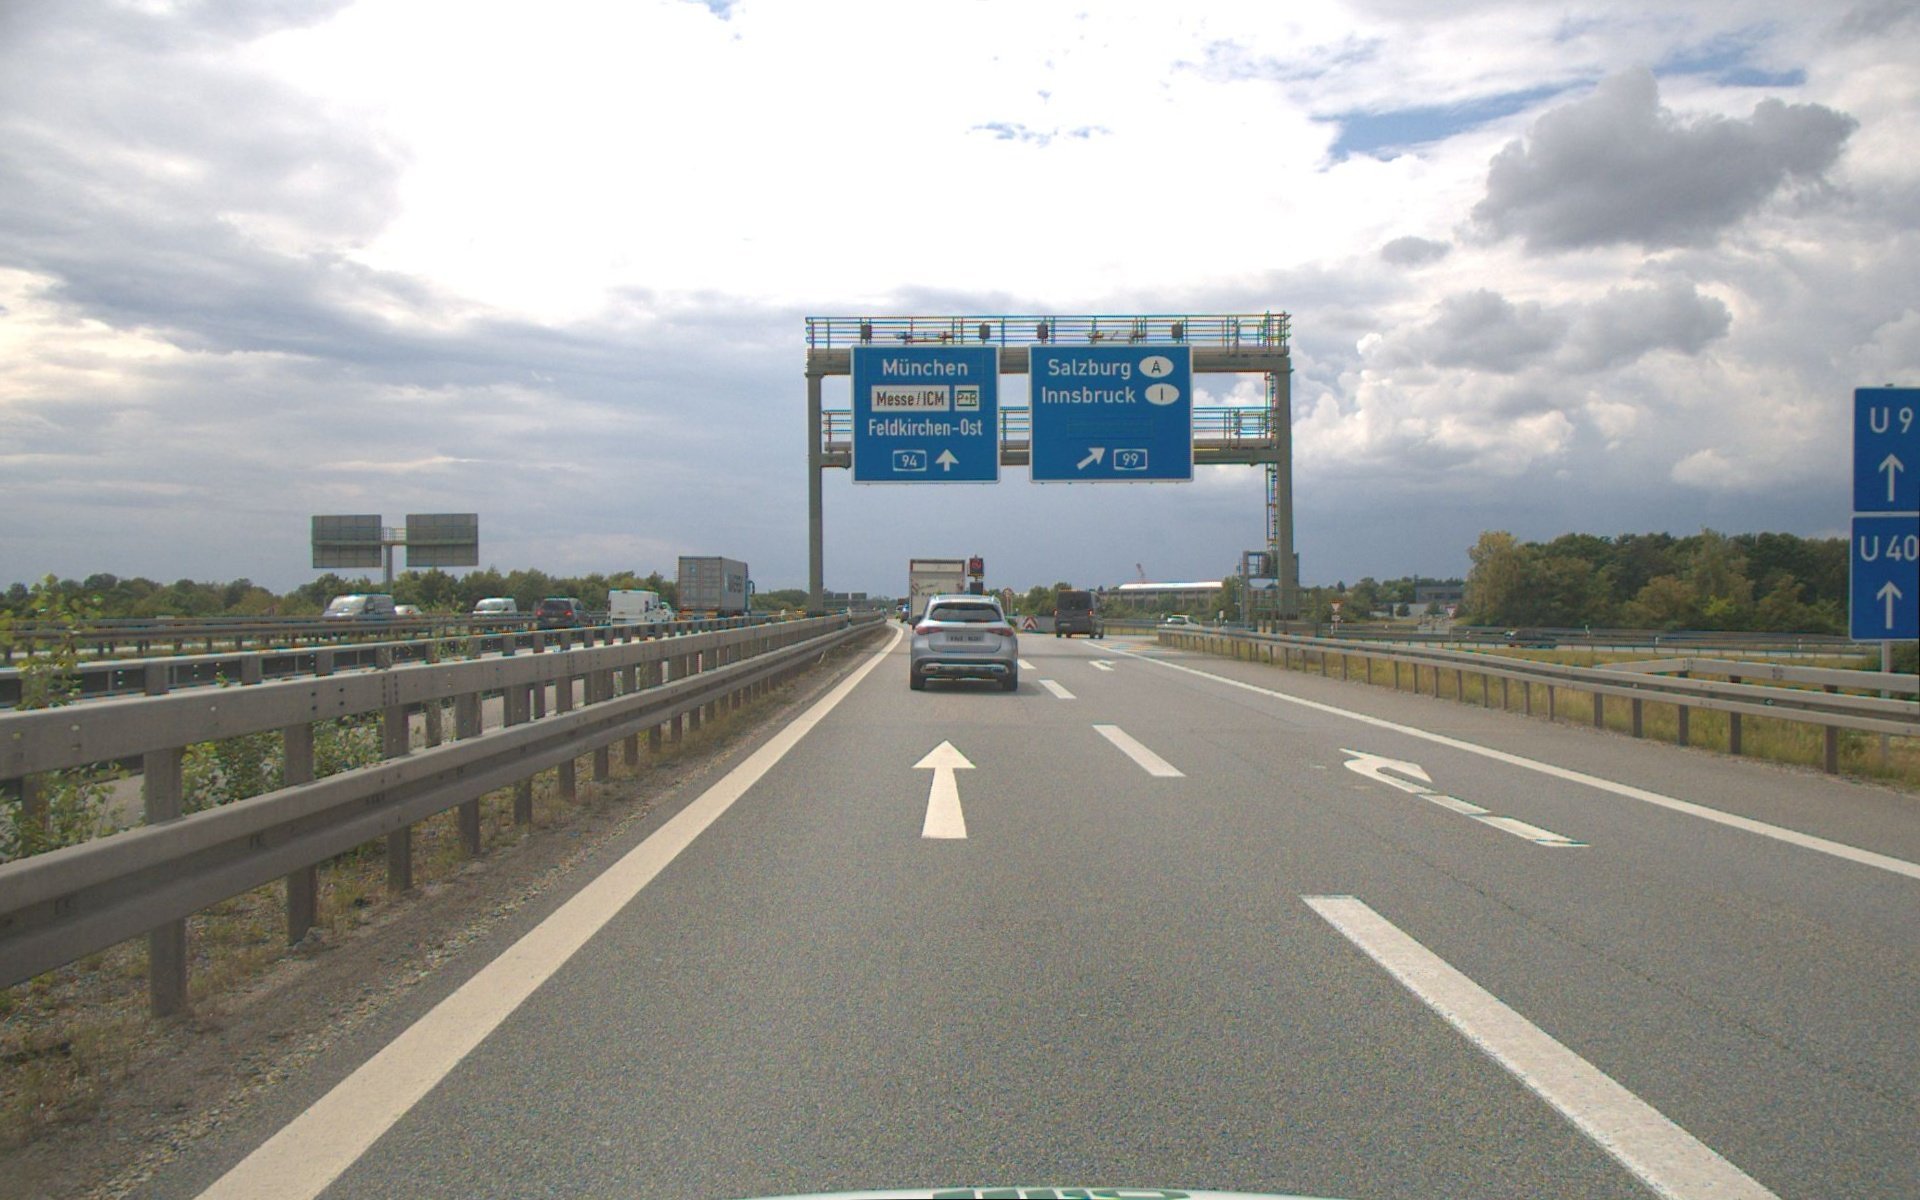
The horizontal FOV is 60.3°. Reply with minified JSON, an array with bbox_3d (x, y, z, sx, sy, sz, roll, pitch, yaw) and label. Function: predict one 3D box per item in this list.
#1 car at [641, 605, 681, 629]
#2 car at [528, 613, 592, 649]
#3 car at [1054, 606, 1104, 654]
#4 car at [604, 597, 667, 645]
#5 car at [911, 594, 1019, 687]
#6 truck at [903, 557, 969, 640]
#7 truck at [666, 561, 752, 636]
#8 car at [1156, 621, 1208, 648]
[{"bbox_3d":[-18.659,1.047,103.341,1.761,1.444,3.999,1,0,-1],"label":"car"},{"bbox_3d":[-18.170,1.394,75.355,1.843,1.573,4.614,1,0,-1],"label":"car"},{"bbox_3d":[6.011,1.477,83.299,1.866,2.301,4.653,1,0,12],"label":"car"},{"bbox_3d":[-14.383,0.906,73.549,1.953,2.049,4.373,1,0,-1],"label":"car"},{"bbox_3d":[0.072,0.683,29.549,1.782,1.541,3.999,1,0,-1],"label":"car"},{"bbox_3d":[-0.967,0.049,68.316,2.516,3.181,8.631,1,-2,-1],"label":"truck"},{"bbox_3d":[-14.829,-0.058,99.224,3.119,4.089,16.068,1,0,-2],"label":"truck"},{"bbox_3d":[14.641,2.265,109.129,1.957,1.739,3.990,1,0,31],"label":"car"}]
